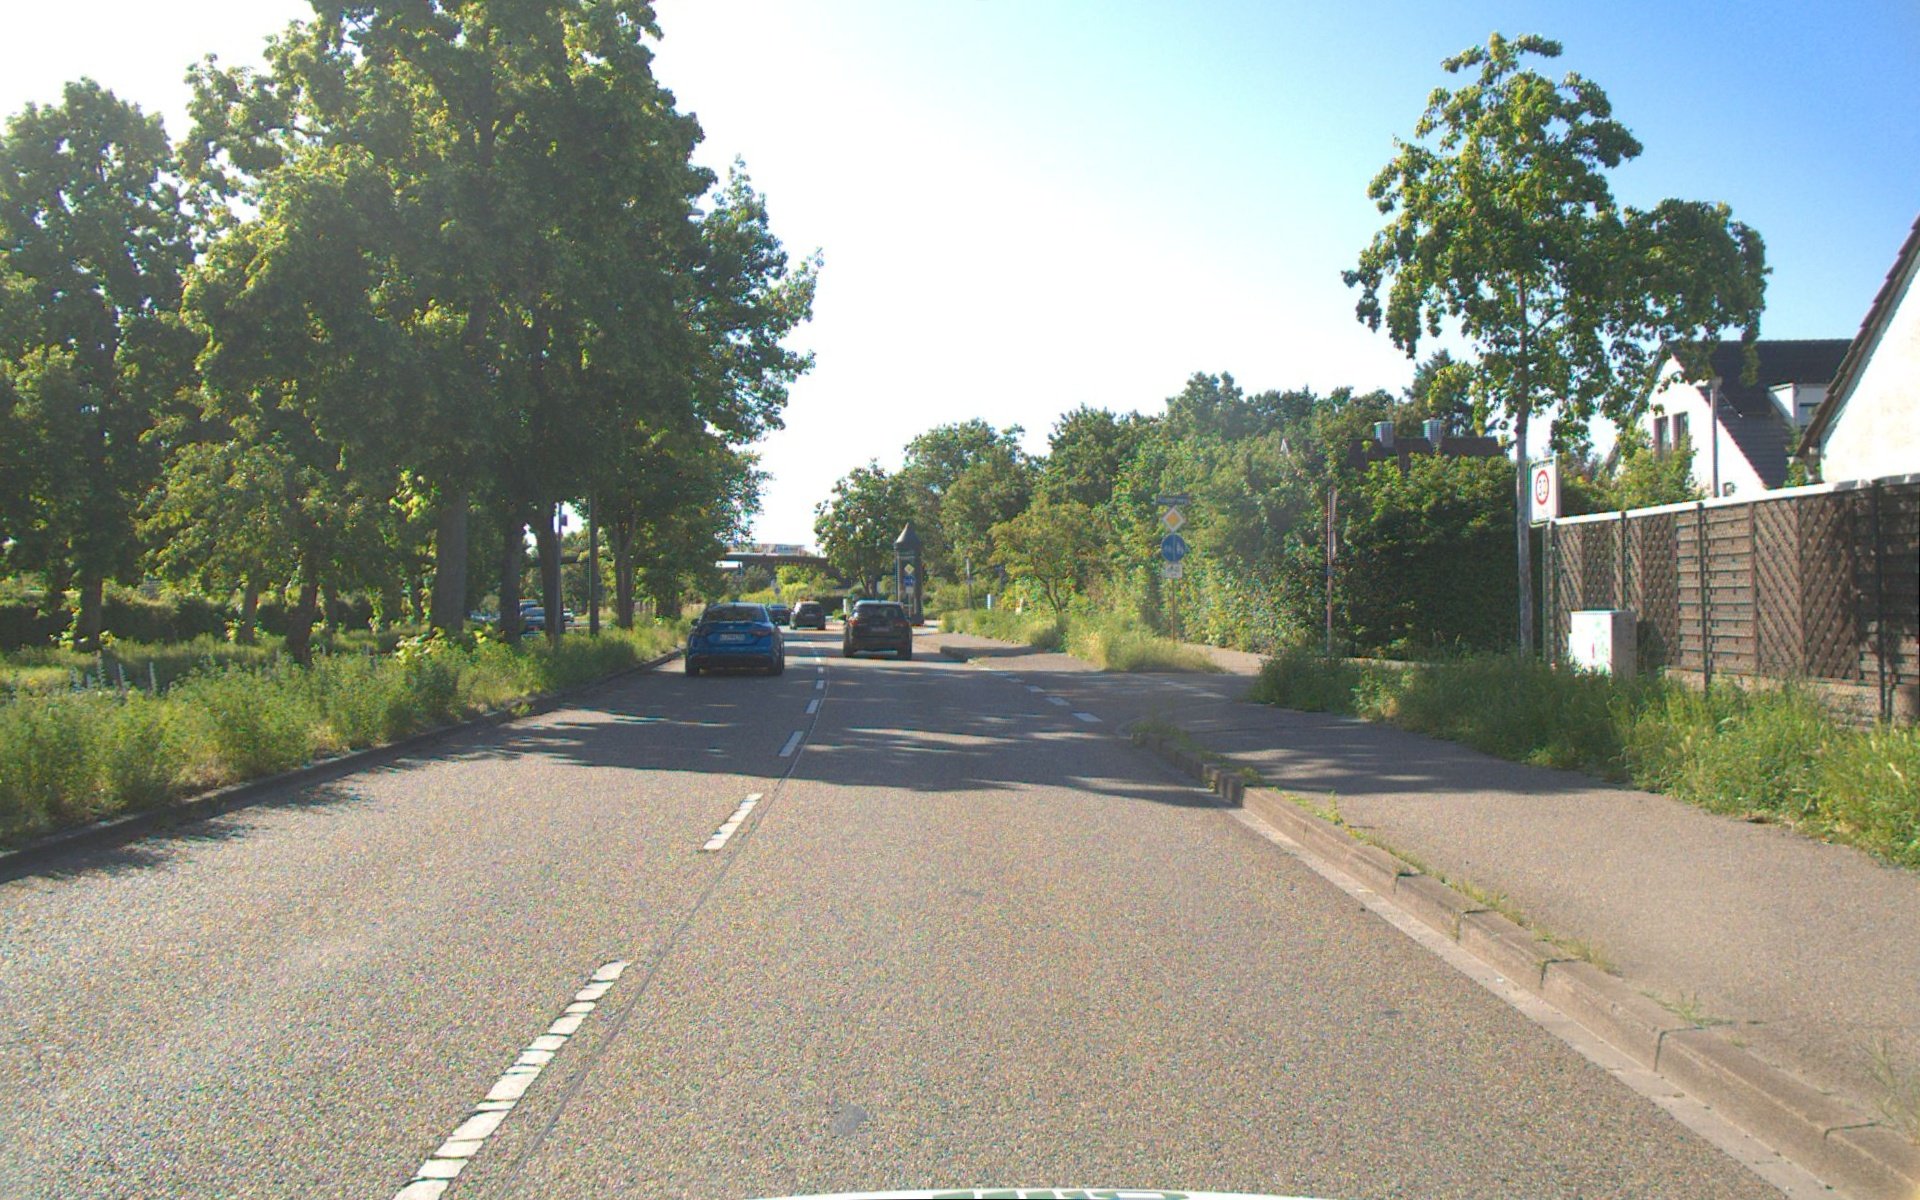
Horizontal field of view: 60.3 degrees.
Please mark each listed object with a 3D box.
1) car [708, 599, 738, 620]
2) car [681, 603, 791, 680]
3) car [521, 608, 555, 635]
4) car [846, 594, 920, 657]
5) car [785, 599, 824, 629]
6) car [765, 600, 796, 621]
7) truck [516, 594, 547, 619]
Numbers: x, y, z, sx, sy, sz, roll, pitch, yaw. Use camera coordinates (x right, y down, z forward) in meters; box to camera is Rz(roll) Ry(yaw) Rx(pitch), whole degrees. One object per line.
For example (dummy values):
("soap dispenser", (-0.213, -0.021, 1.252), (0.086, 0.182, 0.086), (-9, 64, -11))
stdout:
("car", (-16.801, 0.669, 117.203), (1.864, 1.379, 3.989), (-1, 0, -11))
("car", (-4.475, 0.787, 33.512), (1.955, 1.429, 3.997), (0, 0, -4))
("car", (-24.538, 1.255, 96.137), (1.666, 1.461, 4.917), (-3, 0, -17))
("car", (-2.088, 0.702, 44.020), (1.726, 1.587, 3.994), (1, -1, -6))
("car", (-8.556, 0.745, 90.843), (1.713, 1.625, 4.162), (0, 0, -12))
("car", (-12.828, 0.739, 118.335), (1.864, 1.379, 3.989), (-1, 0, -11))
("truck", (-47.067, 0.682, 181.496), (2.146, 2.556, 5.694), (-3, 0, -26))
